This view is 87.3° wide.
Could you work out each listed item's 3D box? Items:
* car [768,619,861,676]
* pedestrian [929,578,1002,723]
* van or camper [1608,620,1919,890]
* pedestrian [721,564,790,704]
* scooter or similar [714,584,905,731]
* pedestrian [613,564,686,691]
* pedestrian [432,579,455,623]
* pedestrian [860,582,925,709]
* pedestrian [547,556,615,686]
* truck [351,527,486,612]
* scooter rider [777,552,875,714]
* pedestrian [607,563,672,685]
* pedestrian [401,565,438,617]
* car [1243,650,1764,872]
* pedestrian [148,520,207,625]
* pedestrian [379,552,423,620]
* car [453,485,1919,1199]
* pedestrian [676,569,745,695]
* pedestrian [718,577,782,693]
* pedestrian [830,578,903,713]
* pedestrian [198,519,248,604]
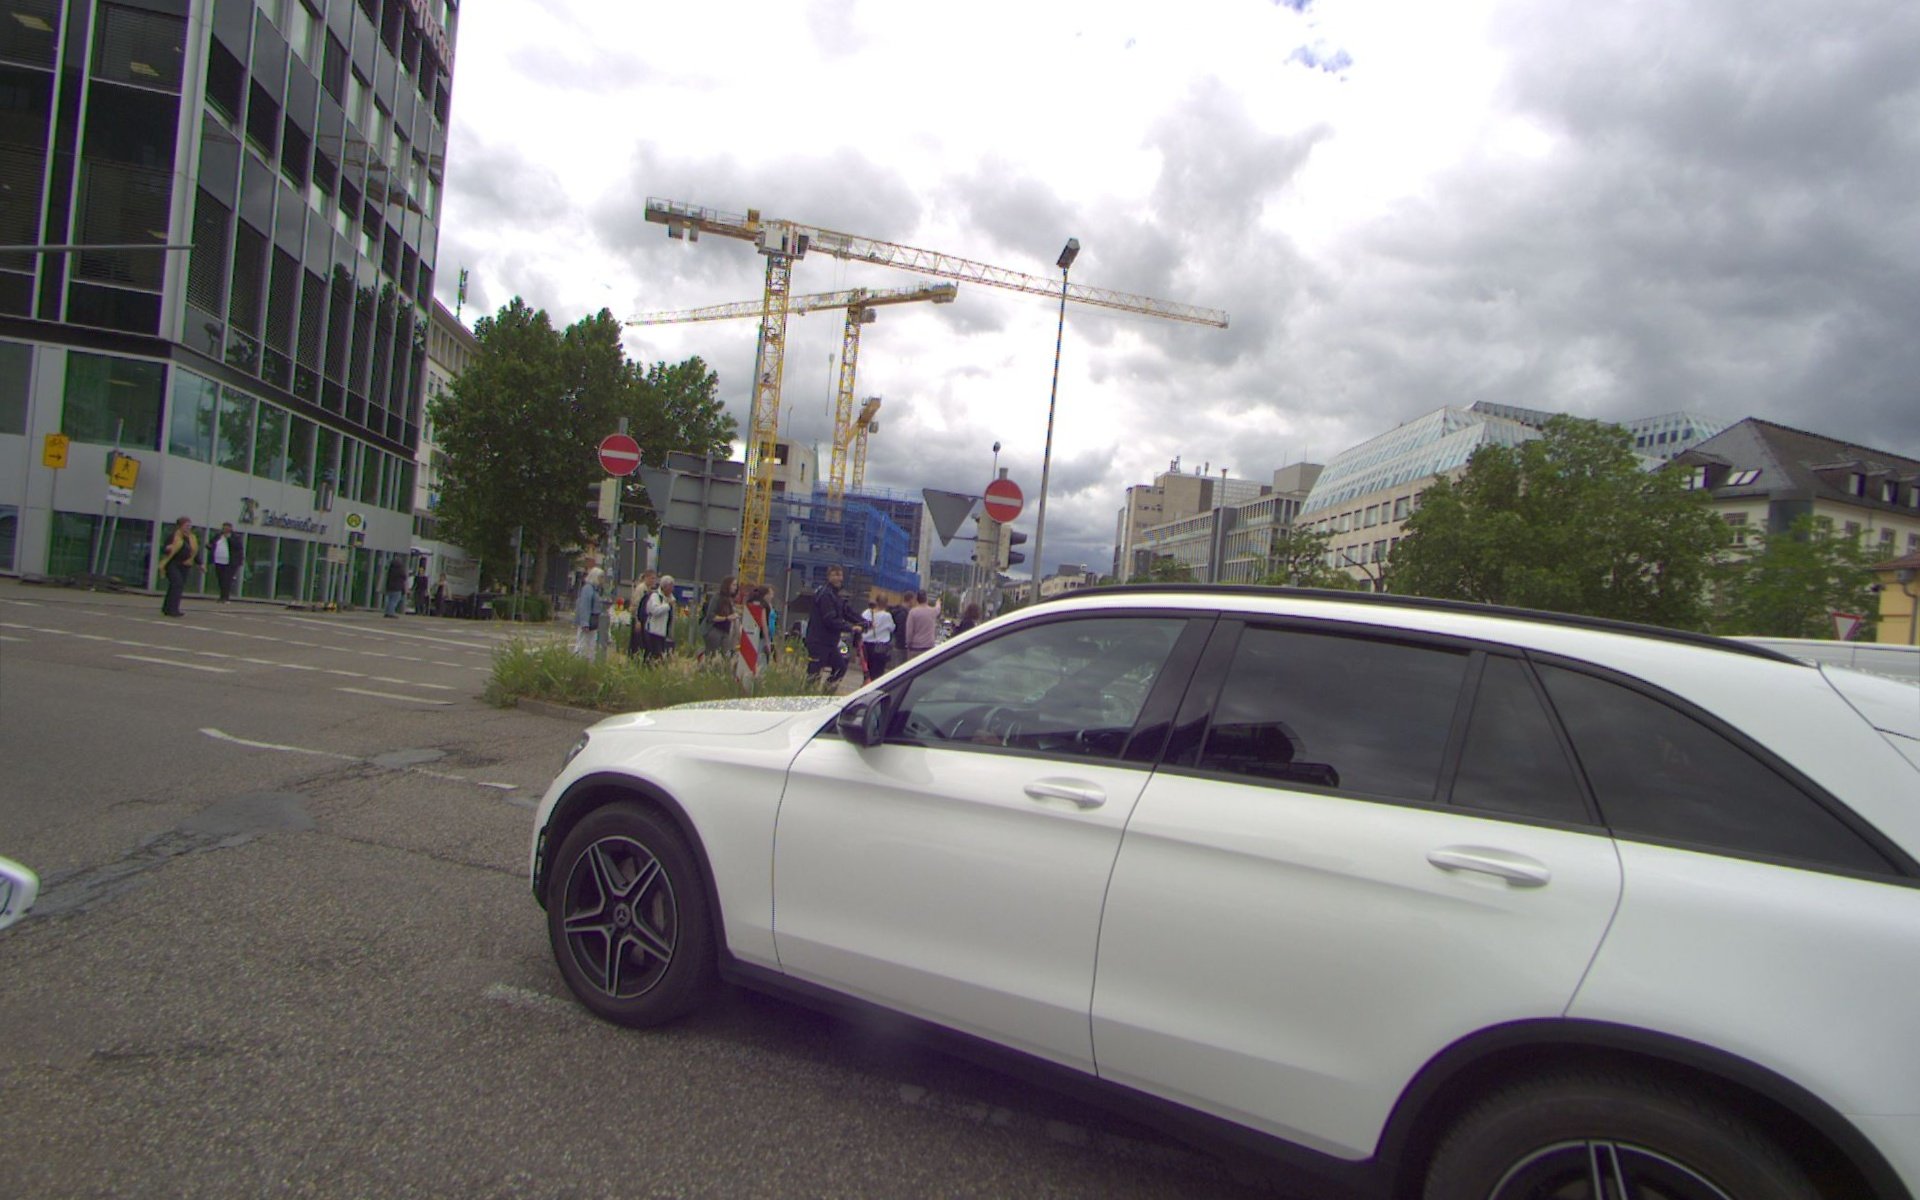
[{"bbox_3d":[-4.881,1.539,33.328,1.816,1.483,3.977,7,-2,-26],"label":"car"},{"bbox_3d":[0.073,0.713,14.319,0.635,1.978,0.606,7,-1,-28],"label":"pedestrian"},{"bbox_3d":[10.668,1.778,10.442,2.131,2.506,6.095,8,-2,-39],"label":"van or camper"},{"bbox_3d":[-3.052,0.501,15.004,0.636,1.988,0.606,7,-1,-31],"label":"pedestrian"},{"bbox_3d":[-1.691,0.646,11.319,1.864,1.423,0.772,7,-1,-24],"label":"scooter or similar"},{"bbox_3d":[-4.648,0.404,15.040,0.755,1.782,0.665,7,-1,-29],"label":"pedestrian"},{"bbox_3d":[-18.947,0.051,36.912,0.510,1.553,0.552,6,0,-16],"label":"pedestrian"},{"bbox_3d":[-1.075,0.723,16.009,0.636,1.933,0.606,7,-1,-31],"label":"pedestrian"},{"bbox_3d":[-5.802,0.310,15.381,0.695,1.884,0.665,7,-1,-29],"label":"pedestrian"},{"bbox_3d":[-23.870,-1.183,44.886,2.305,3.099,8.194,6,-2,-8],"label":"truck"},{"bbox_3d":[-1.527,0.369,11.385,0.736,1.714,0.762,7,-1,-24],"label":"scooter rider"},{"bbox_3d":[-5.117,0.375,16.038,0.695,1.837,0.665,7,-1,-29],"label":"pedestrian"},{"bbox_3d":[-19.615,-0.318,36.507,0.861,1.768,0.845,6,0,-16],"label":"pedestrian"},{"bbox_3d":[5.724,1.610,11.099,1.937,1.499,4.575,9,-3,-41],"label":"car"},{"bbox_3d":[-13.480,-0.477,17.332,0.791,1.718,0.545,6,0,42],"label":"pedestrian"},{"bbox_3d":[-14.863,-0.361,26.760,0.625,1.699,0.591,6,0,7],"label":"pedestrian"},{"bbox_3d":[0.477,0.674,3.404,4.261,1.667,1.804,7,0,31],"label":"car"},{"bbox_3d":[-3.573,0.457,14.419,0.636,1.716,0.606,7,-1,-31],"label":"pedestrian"},{"bbox_3d":[-3.275,0.538,15.678,0.636,1.716,0.606,7,-1,-31],"label":"pedestrian"},{"bbox_3d":[-1.319,0.636,14.189,0.636,1.818,0.606,7,-1,-31],"label":"pedestrian"},{"bbox_3d":[-16.328,-0.846,22.304,0.629,1.769,0.587,7,0,-24],"label":"pedestrian"}]
